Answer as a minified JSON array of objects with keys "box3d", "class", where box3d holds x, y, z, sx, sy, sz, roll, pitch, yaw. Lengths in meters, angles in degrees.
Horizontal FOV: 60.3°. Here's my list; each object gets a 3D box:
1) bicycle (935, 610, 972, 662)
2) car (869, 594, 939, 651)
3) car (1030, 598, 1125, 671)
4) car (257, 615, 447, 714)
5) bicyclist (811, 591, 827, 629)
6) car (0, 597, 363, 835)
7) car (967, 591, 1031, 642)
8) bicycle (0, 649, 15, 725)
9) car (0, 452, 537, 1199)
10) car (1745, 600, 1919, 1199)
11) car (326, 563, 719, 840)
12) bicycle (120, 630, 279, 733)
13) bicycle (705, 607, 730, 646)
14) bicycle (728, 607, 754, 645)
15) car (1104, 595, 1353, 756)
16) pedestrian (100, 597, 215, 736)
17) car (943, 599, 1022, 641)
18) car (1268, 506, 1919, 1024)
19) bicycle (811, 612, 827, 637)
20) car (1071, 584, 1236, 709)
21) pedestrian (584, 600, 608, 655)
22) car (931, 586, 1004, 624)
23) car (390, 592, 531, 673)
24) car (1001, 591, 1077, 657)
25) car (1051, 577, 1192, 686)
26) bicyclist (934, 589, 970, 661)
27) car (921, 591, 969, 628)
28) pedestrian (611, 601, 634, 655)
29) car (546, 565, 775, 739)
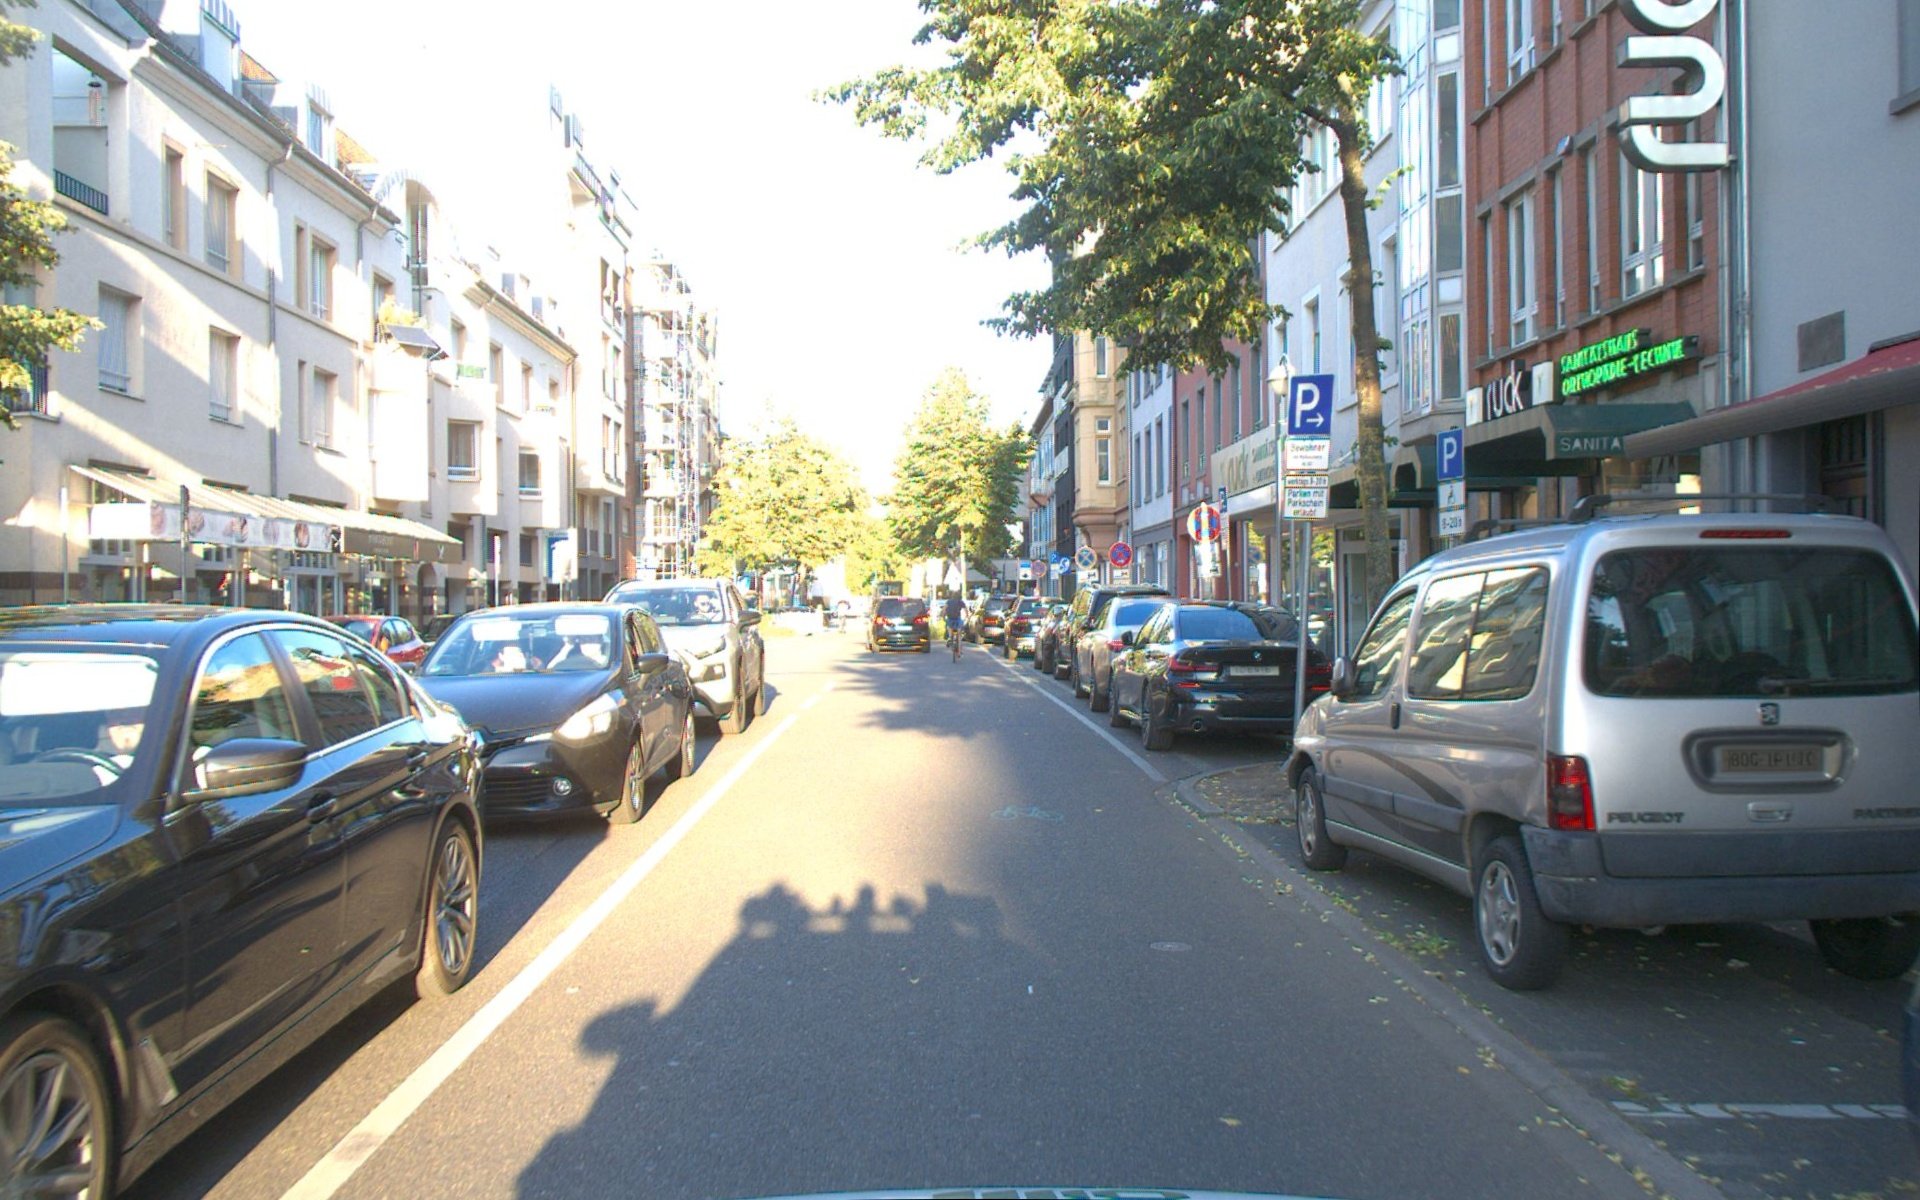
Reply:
[{"box3d":[-0.177,0.877,40.728,0.765,1.225,2.019,-2,-1,-4],"class":"bicycle"},{"box3d":[-1.732,0.676,49.748,1.954,1.630,4.506,1,-1,-4],"class":"car"},{"box3d":[2.547,0.751,36.690,1.726,1.509,4.306,0,-1,-1],"class":"car"},{"box3d":[-9.361,0.954,25.776,1.627,1.427,3.882,1,-1,-2],"class":"car"},{"box3d":[-7.139,0.500,83.714,0.765,1.861,1.006,-2,-1,-4],"class":"bicyclist"},{"box3d":[-6.583,0.832,13.278,1.953,1.538,4.508,-3,-1,-1],"class":"car"},{"box3d":[1.324,0.588,57.969,1.789,1.725,4.364,1,-1,-4],"class":"car"},{"box3d":[-12.981,1.153,21.350,0.480,1.009,2.014,1,-1,-3],"class":"bicycle"},{"box3d":[-2.697,0.616,4.556,1.906,1.673,4.614,-2,-1,-1],"class":"car"},{"box3d":[2.874,0.728,1.775,1.898,1.400,4.180,2,0,-3],"class":"car"},{"box3d":[-2.907,0.622,11.992,1.688,1.576,4.464,-2,-1,-1],"class":"car"},{"box3d":[-10.630,1.101,23.281,0.939,1.323,3.125,1,-1,-3],"class":"bicycle"},{"box3d":[-9.147,1.004,62.312,0.876,1.420,3.159,0,-1,-10],"class":"bicycle"},{"box3d":[-8.279,0.969,62.474,0.829,1.374,3.179,-1,-1,-10],"class":"bicycle"},{"box3d":[2.646,0.682,17.326,1.717,1.445,4.507,1,0,-2],"class":"car"},{"box3d":[-10.424,0.838,21.507,0.885,1.705,0.993,1,2,20],"class":"pedestrian"},{"box3d":[0.863,0.762,63.735,2.911,1.563,1.431,1,-1,-6],"class":"car"},{"box3d":[2.782,0.570,7.839,1.622,1.809,4.008,1,0,-4],"class":"car"},{"box3d":[-7.120,1.253,83.598,0.765,1.225,2.019,-2,-1,-4],"class":"bicycle"},{"box3d":[2.595,0.618,23.291,1.774,1.554,4.993,0,-1,0],"class":"car"},{"box3d":[-12.037,0.896,54.682,0.703,1.798,0.692,1,-1,-9],"class":"pedestrian"},{"box3d":[0.446,0.272,91.496,3.904,2.049,2.001,-1,0,3],"class":"car"},{"box3d":[-9.691,0.619,32.351,1.676,1.479,3.724,0,-1,-1],"class":"car"},{"box3d":[2.088,0.639,44.790,1.775,1.697,4.204,0,-1,-1],"class":"car"},{"box3d":[2.810,0.549,29.762,1.845,1.785,5.056,1,-1,-2],"class":"car"},{"box3d":[-0.203,0.622,40.724,0.765,1.726,1.006,-2,-1,-4],"class":"bicyclist"},{"box3d":[-0.867,0.526,91.160,2.221,1.797,4.505,5,-1,-4],"class":"car"},{"box3d":[-11.181,0.937,54.788,0.703,1.771,0.737,1,-1,-9],"class":"pedestrian"},{"box3d":[-3.242,0.543,18.821,1.902,1.673,4.736,-2,-1,-3],"class":"car"}]
